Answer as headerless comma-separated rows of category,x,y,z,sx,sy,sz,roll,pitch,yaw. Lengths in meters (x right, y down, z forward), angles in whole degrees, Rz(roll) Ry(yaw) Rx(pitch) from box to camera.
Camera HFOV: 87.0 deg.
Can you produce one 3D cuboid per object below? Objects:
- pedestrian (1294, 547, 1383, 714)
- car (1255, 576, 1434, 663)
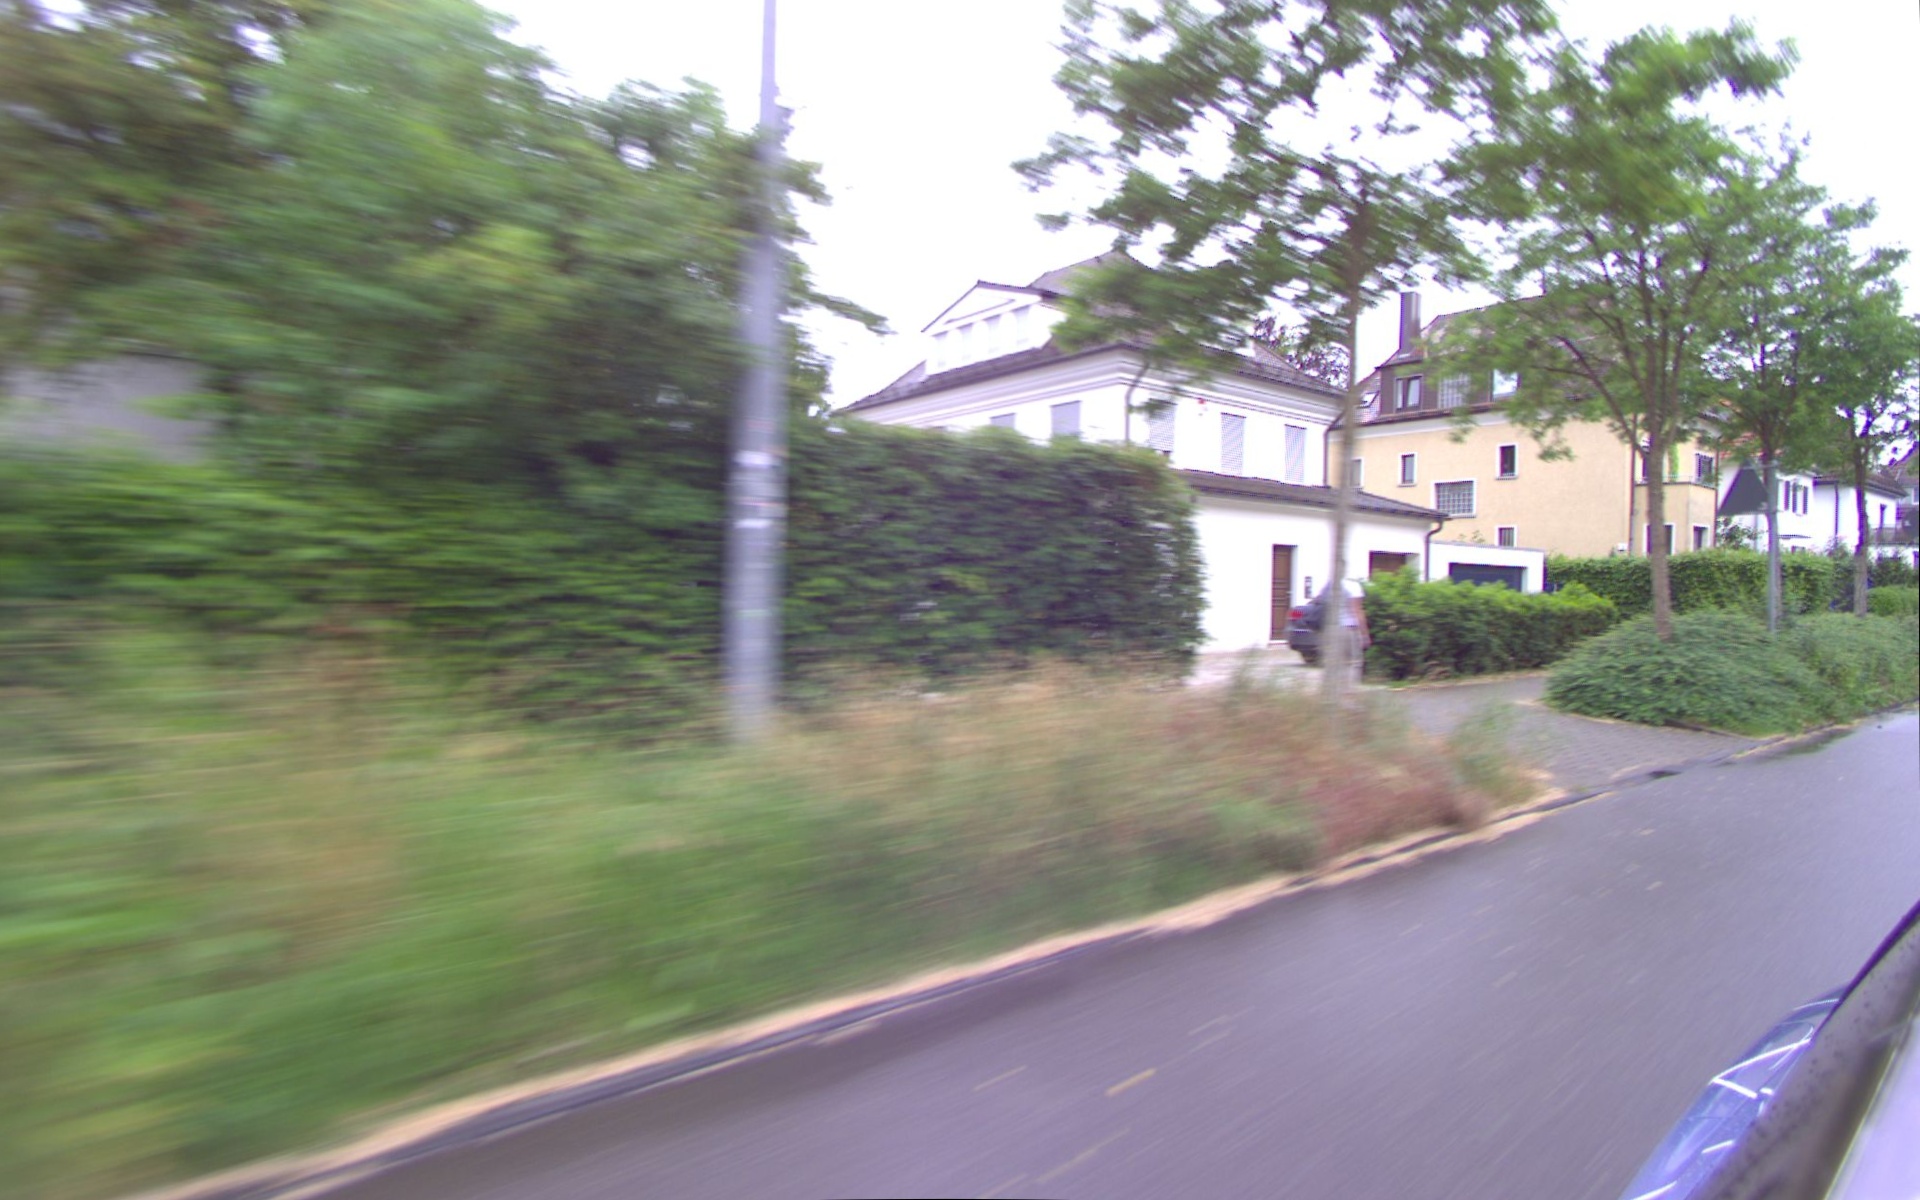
pedestrian,4.137,0.302,11.059,0.701,1.753,0.635,-2,2,-36
car,7.018,0.305,18.356,3.412,1.437,1.474,-1,0,-38
